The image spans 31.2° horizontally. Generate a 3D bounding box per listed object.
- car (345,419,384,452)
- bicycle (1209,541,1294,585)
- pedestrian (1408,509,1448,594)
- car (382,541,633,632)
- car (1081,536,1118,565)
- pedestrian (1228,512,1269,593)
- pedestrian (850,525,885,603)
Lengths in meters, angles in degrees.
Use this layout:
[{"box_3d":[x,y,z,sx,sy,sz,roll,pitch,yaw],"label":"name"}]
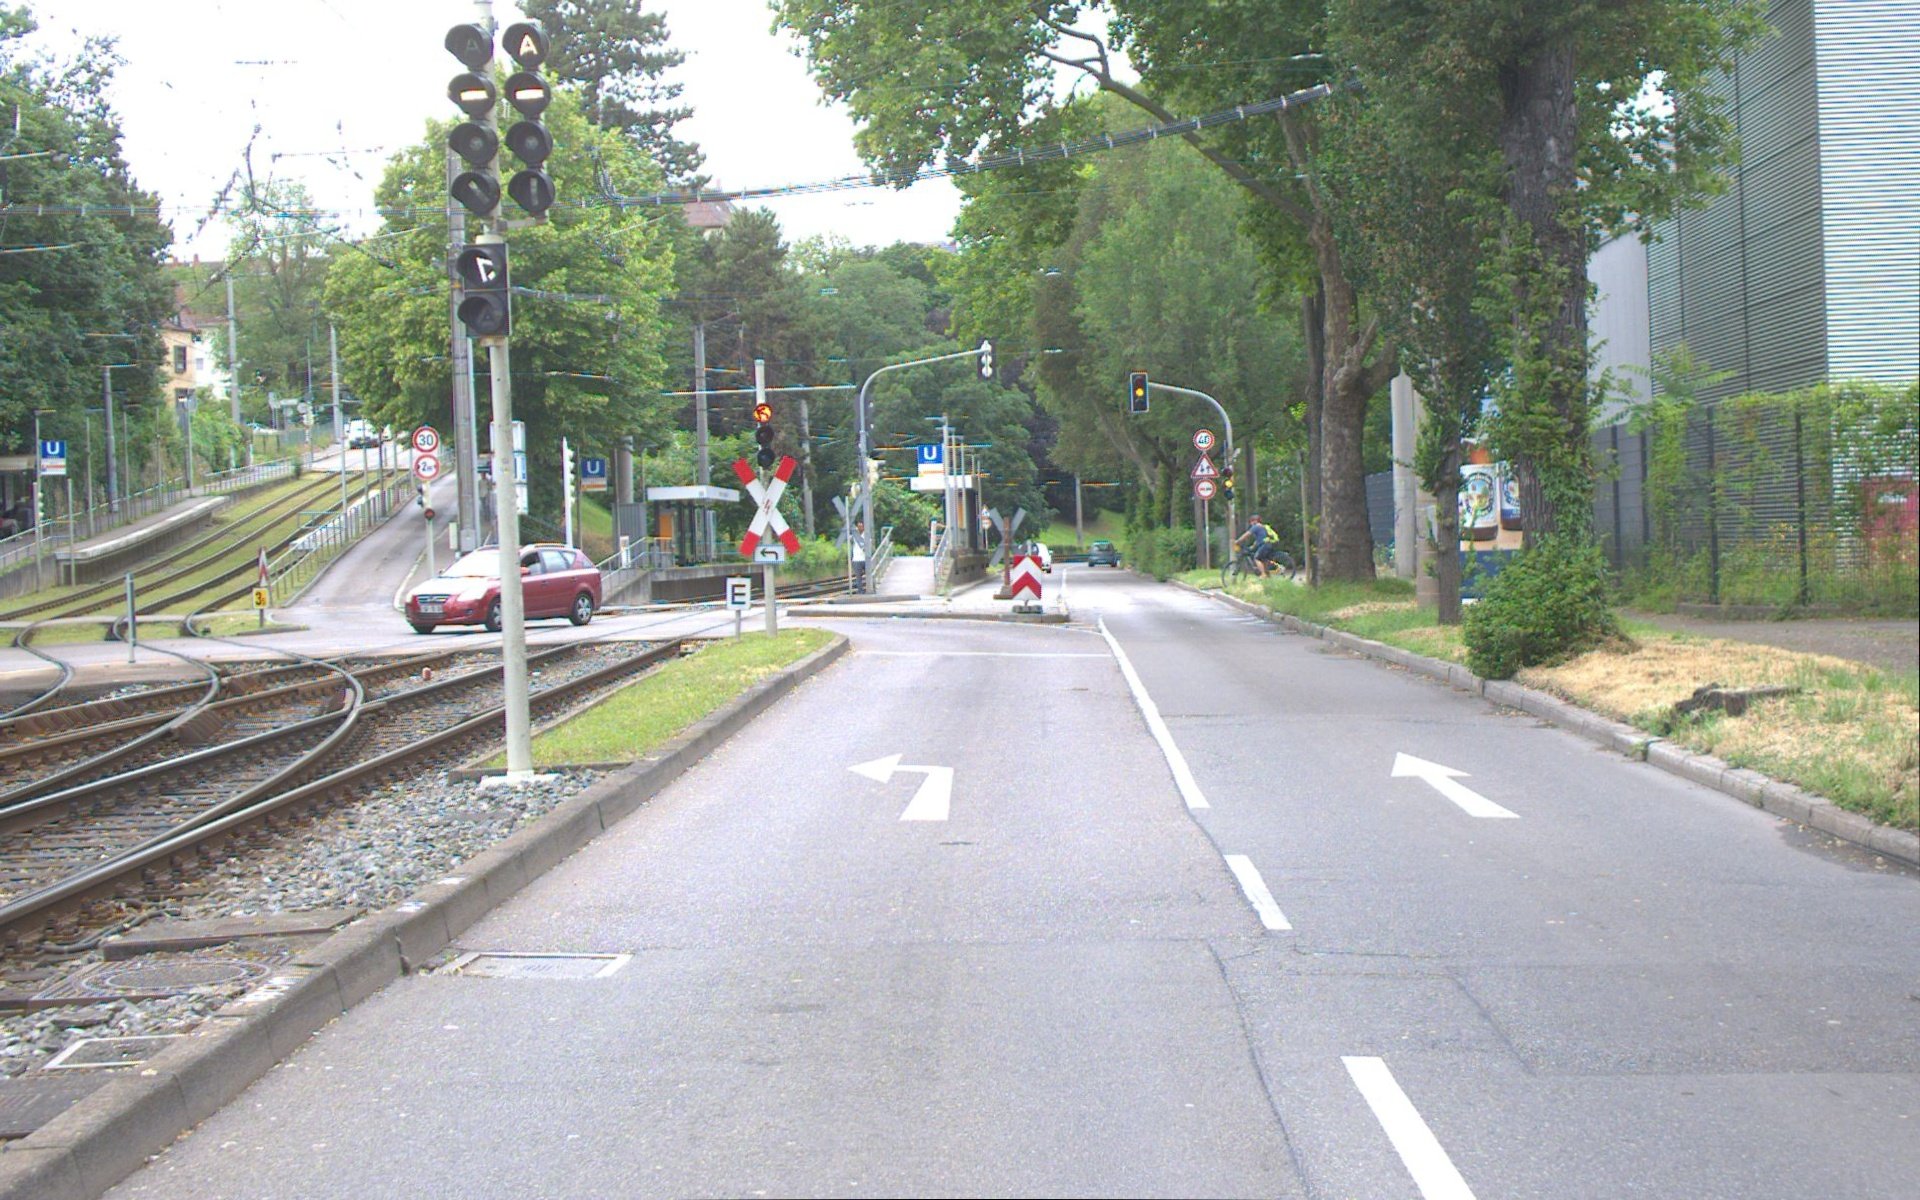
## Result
[{"box_3d":[-39.975,-11.015,230.928,1.993,2.007,4.001,-3,1,-3],"label":"car"},{"box_3d":[7.303,-0.929,86.072,2.075,1.003,0.668,-2,0,8],"label":"bicycle"},{"box_3d":[8.680,-0.906,63.783,0.666,1.548,0.934,-2,0,7],"label":"pedestrian"},{"box_3d":[-8.084,-0.262,61.817,1.997,1.510,4.492,0,1,33],"label":"car"},{"box_3d":[9.092,-3.245,224.396,1.993,1.809,4.001,-2,1,-2],"label":"car"},{"box_3d":[7.220,-1.188,86.076,0.931,2.007,0.668,-2,0,8],"label":"pedestrian"},{"box_3d":[-2.215,-0.861,82.492,0.768,1.846,0.910,-2,0,-2],"label":"pedestrian"}]
